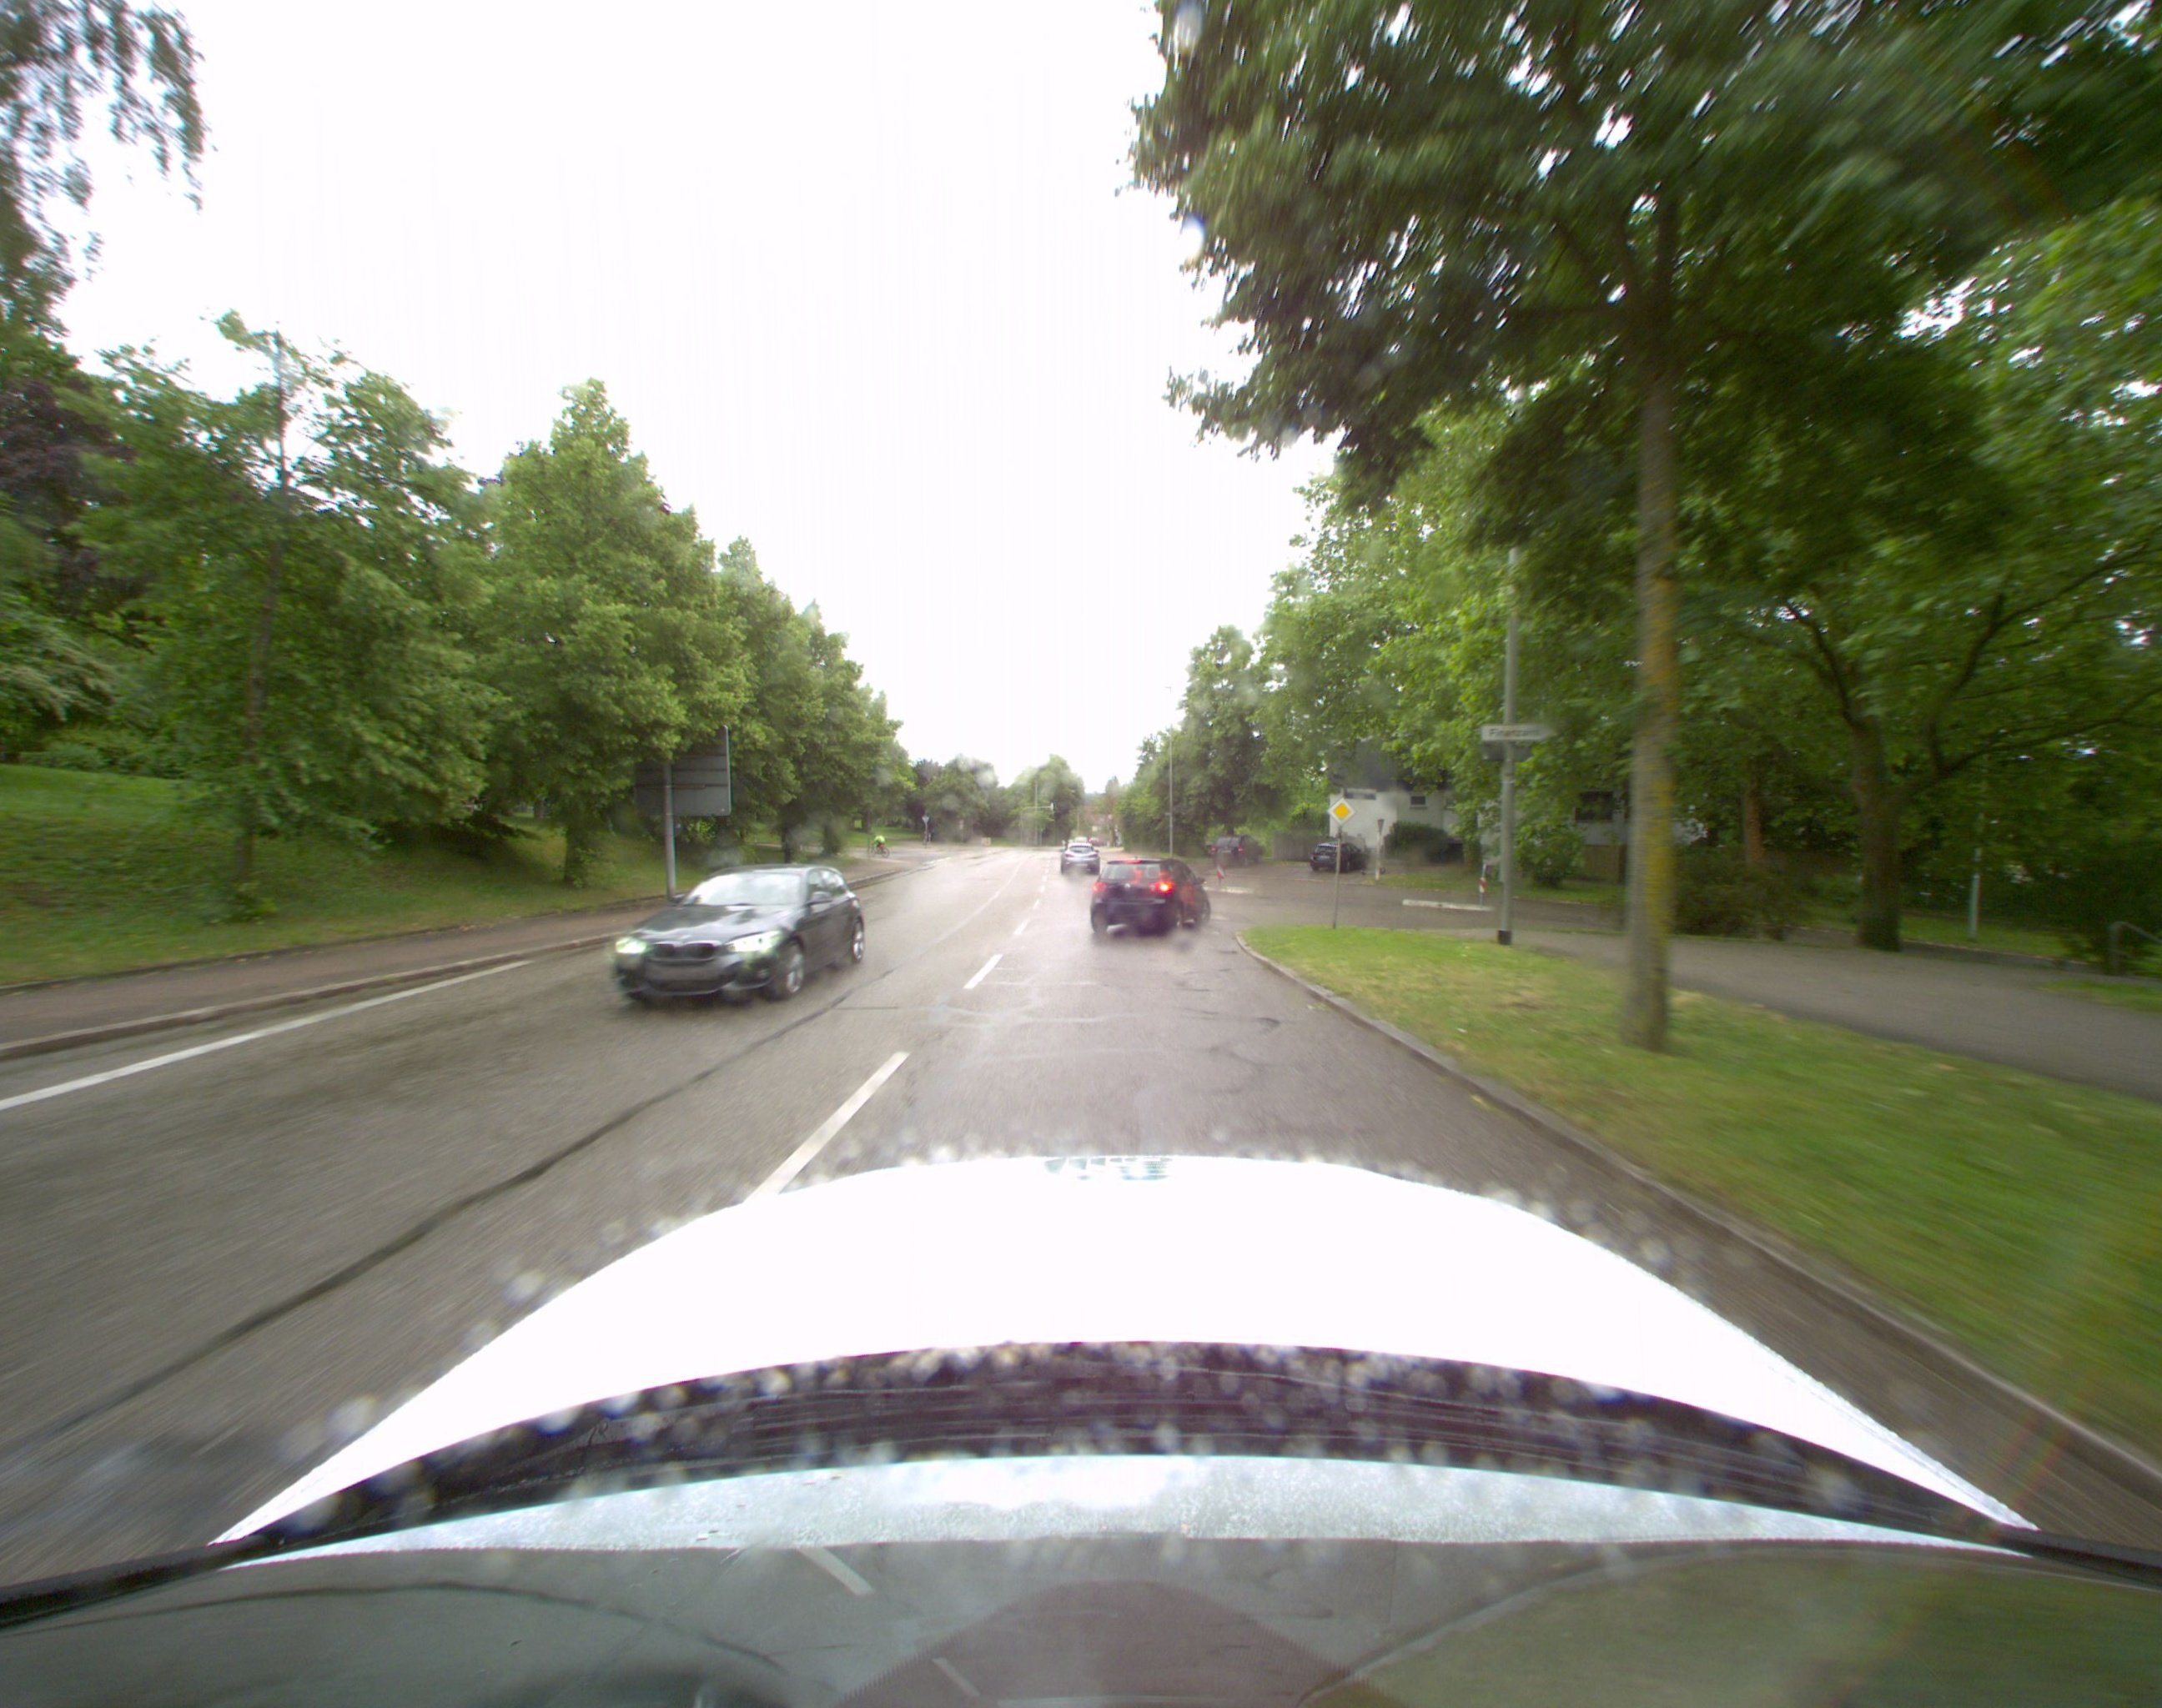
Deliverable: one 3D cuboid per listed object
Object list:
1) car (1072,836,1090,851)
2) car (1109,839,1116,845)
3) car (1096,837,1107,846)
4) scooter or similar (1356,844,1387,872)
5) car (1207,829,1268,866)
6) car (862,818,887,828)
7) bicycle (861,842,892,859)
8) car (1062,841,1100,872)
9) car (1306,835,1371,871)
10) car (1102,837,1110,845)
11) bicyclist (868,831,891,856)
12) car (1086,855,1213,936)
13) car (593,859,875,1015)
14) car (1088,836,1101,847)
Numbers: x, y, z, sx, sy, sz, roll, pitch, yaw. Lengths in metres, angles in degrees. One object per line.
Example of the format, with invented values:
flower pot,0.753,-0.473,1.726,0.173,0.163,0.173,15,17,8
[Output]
car,0.009,-1.098,86.627,1.715,1.464,4.002,3,1,2
car,7.838,-2.947,204.745,1.715,1.464,4.002,3,1,2
car,3.514,-2.156,137.816,1.715,1.464,4.002,3,1,2
scooter or similar,14.069,0.181,39.453,1.334,1.285,0.560,-1,1,-7
car,8.635,-0.424,44.584,1.929,1.689,4.934,2,5,28
car,-34.172,-5.070,134.596,3.909,1.486,1.923,0,1,-20
bicycle,-14.657,-0.242,58.285,2.014,1.155,0.859,0,0,21
car,-0.043,0.089,39.755,1.750,1.464,3.997,-1,1,-2
car,13.206,-0.086,41.619,1.734,1.469,4.596,4,6,37
car,5.160,-2.681,167.375,1.715,1.464,4.002,3,1,2
bicyclist,-14.392,-0.742,58.181,1.270,1.755,0.859,0,0,21
car,1.554,0.766,16.940,1.707,1.464,4.019,0,-1,19
car,-3.888,0.823,9.978,1.716,1.383,4.138,0,1,-1
car,1.977,-1.835,119.423,1.715,1.464,4.002,3,1,2
